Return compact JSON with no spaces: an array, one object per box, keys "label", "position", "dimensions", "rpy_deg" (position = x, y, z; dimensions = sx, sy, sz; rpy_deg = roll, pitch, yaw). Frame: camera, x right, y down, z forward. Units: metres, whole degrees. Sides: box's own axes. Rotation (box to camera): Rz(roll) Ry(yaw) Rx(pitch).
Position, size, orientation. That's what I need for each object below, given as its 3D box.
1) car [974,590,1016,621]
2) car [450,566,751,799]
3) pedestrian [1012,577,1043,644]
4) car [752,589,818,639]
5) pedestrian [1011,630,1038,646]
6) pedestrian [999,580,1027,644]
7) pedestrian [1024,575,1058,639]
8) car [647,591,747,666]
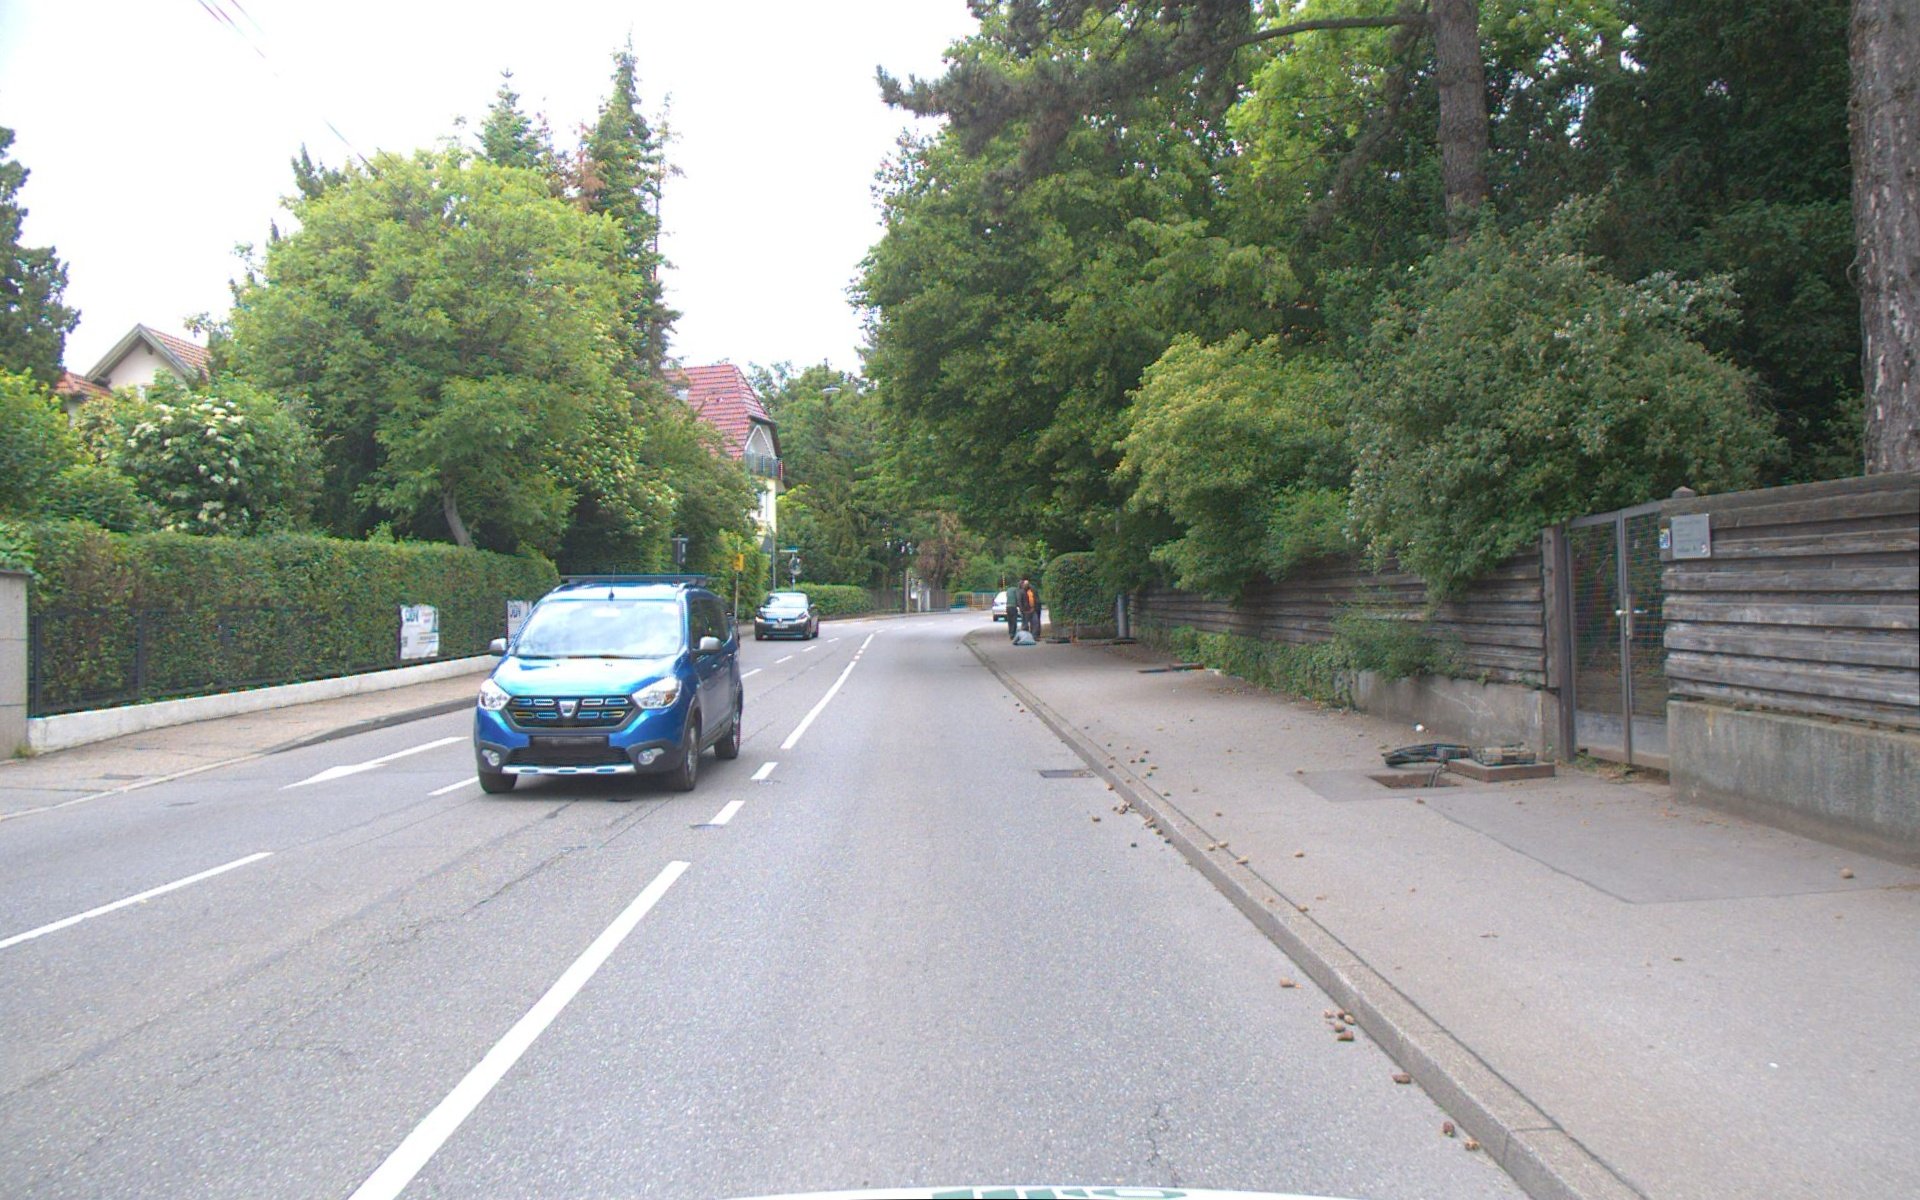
[{"label":"car","position":[1.762,0.277,81.383],"dimensions":[1.759,1.440,4.338],"rpy_deg":[0,-1,5]},{"label":"car","position":[-2.971,0.618,14.595],"dimensions":[1.769,1.747,4.377],"rpy_deg":[0,0,-1]},{"label":"pedestrian","position":[1.880,0.290,46.175],"dimensions":[0.791,1.839,0.740],"rpy_deg":[-1,0,-2]},{"label":"car","position":[-5.484,0.424,52.246],"dimensions":[1.646,1.497,4.017],"rpy_deg":[-1,0,0]},{"label":"pedestrian","position":[1.739,1.033,44.836],"dimensions":[0.659,0.400,0.740],"rpy_deg":[-1,0,-2]},{"label":"pedestrian","position":[1.541,0.345,47.982],"dimensions":[0.591,1.839,0.516],"rpy_deg":[-1,0,39]},{"label":"pedestrian","position":[2.366,0.203,48.234],"dimensions":[0.685,1.839,0.663],"rpy_deg":[-1,0,-43]},{"label":"car","position":[-5.789,0.599,36.805],"dimensions":[1.650,1.545,3.535],"rpy_deg":[1,1,0]}]
